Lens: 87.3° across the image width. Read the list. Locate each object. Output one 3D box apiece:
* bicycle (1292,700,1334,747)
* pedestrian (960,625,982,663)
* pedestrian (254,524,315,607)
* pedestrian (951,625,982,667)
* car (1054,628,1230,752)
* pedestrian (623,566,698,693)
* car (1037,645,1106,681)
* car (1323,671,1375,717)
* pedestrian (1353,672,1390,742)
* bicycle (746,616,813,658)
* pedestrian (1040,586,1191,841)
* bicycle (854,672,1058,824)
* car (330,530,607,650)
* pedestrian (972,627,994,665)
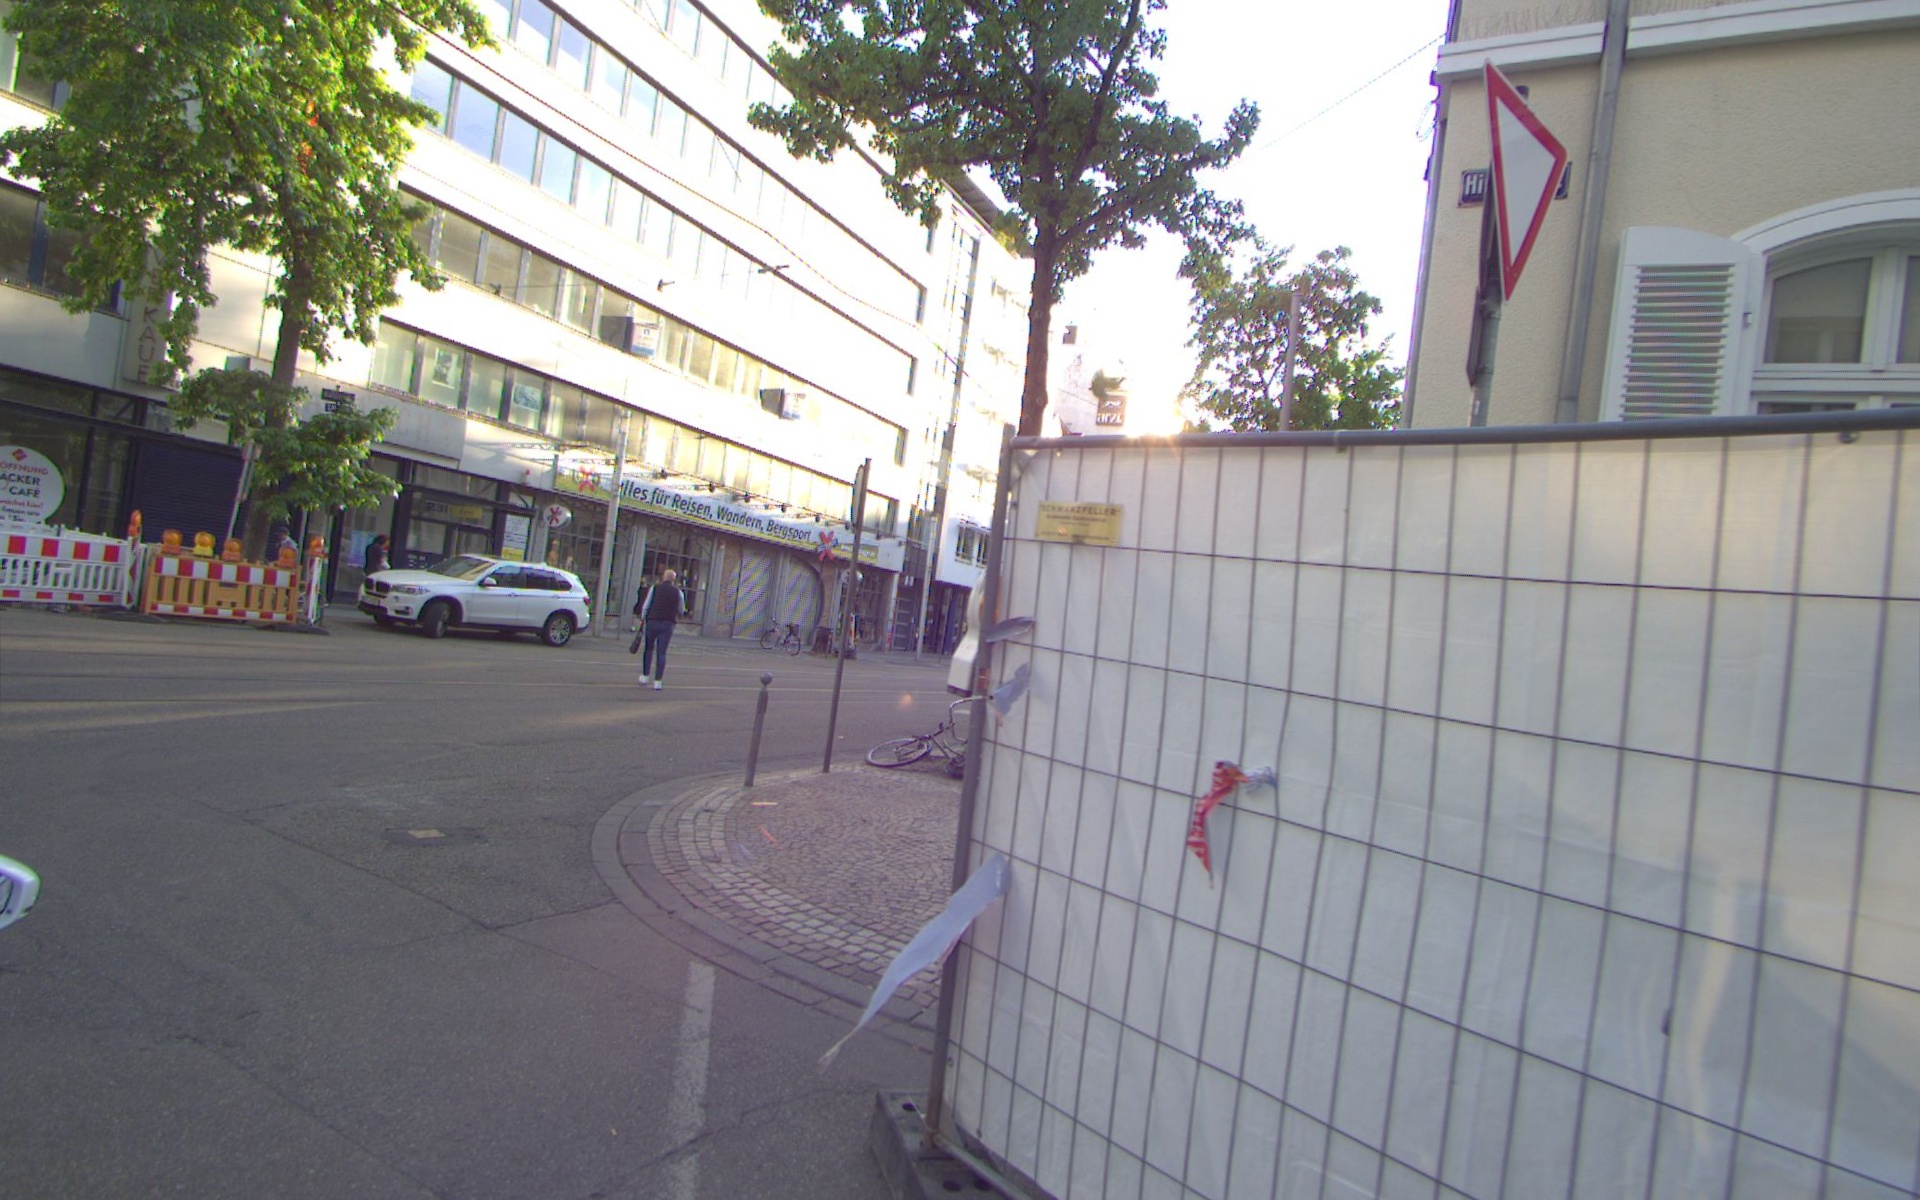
[{"bbox_3d":[8.206,2.848,23.313,0.530,0.964,2.024,5,-2,29],"label":"bicycle"},{"bbox_3d":[0.549,2.204,50.467,0.617,1.798,0.815,8,0,26],"label":"pedestrian"},{"bbox_3d":[-13.703,-0.694,20.415,0.568,1.568,0.706,7,0,25],"label":"pedestrian"},{"bbox_3d":[0.287,2.093,45.743,0.793,1.798,0.968,8,0,40],"label":"pedestrian"},{"bbox_3d":[3.331,1.626,17.855,1.730,1.815,3.649,5,-3,32],"label":"car"},{"bbox_3d":[-4.606,0.437,15.411,0.795,1.798,1.067,7,0,-23],"label":"pedestrian"},{"bbox_3d":[6.009,3.409,54.022,1.704,1.402,3.647,9,-1,42],"label":"car"},{"bbox_3d":[17.927,4.305,46.295,1.798,1.770,3.788,7,-1,25],"label":"car"},{"bbox_3d":[11.188,2.884,27.349,0.791,1.798,0.972,4,-1,25],"label":"pedestrian"},{"bbox_3d":[-5.785,1.183,32.293,1.991,0.964,0.669,10,2,26],"label":"bicycle"},{"bbox_3d":[1.283,0.878,8.149,0.791,1.842,1.072,6,0,24],"label":"pedestrian"},{"bbox_3d":[-0.066,1.454,10.343,1.375,0.443,1.683,-42,27,-26],"label":"bicycle"},{"bbox_3d":[-10.282,-0.115,21.522,1.987,1.796,4.945,10,-1,28],"label":"car"},{"bbox_3d":[1.162,2.282,50.186,0.617,1.798,0.815,8,0,26],"label":"pedestrian"}]
